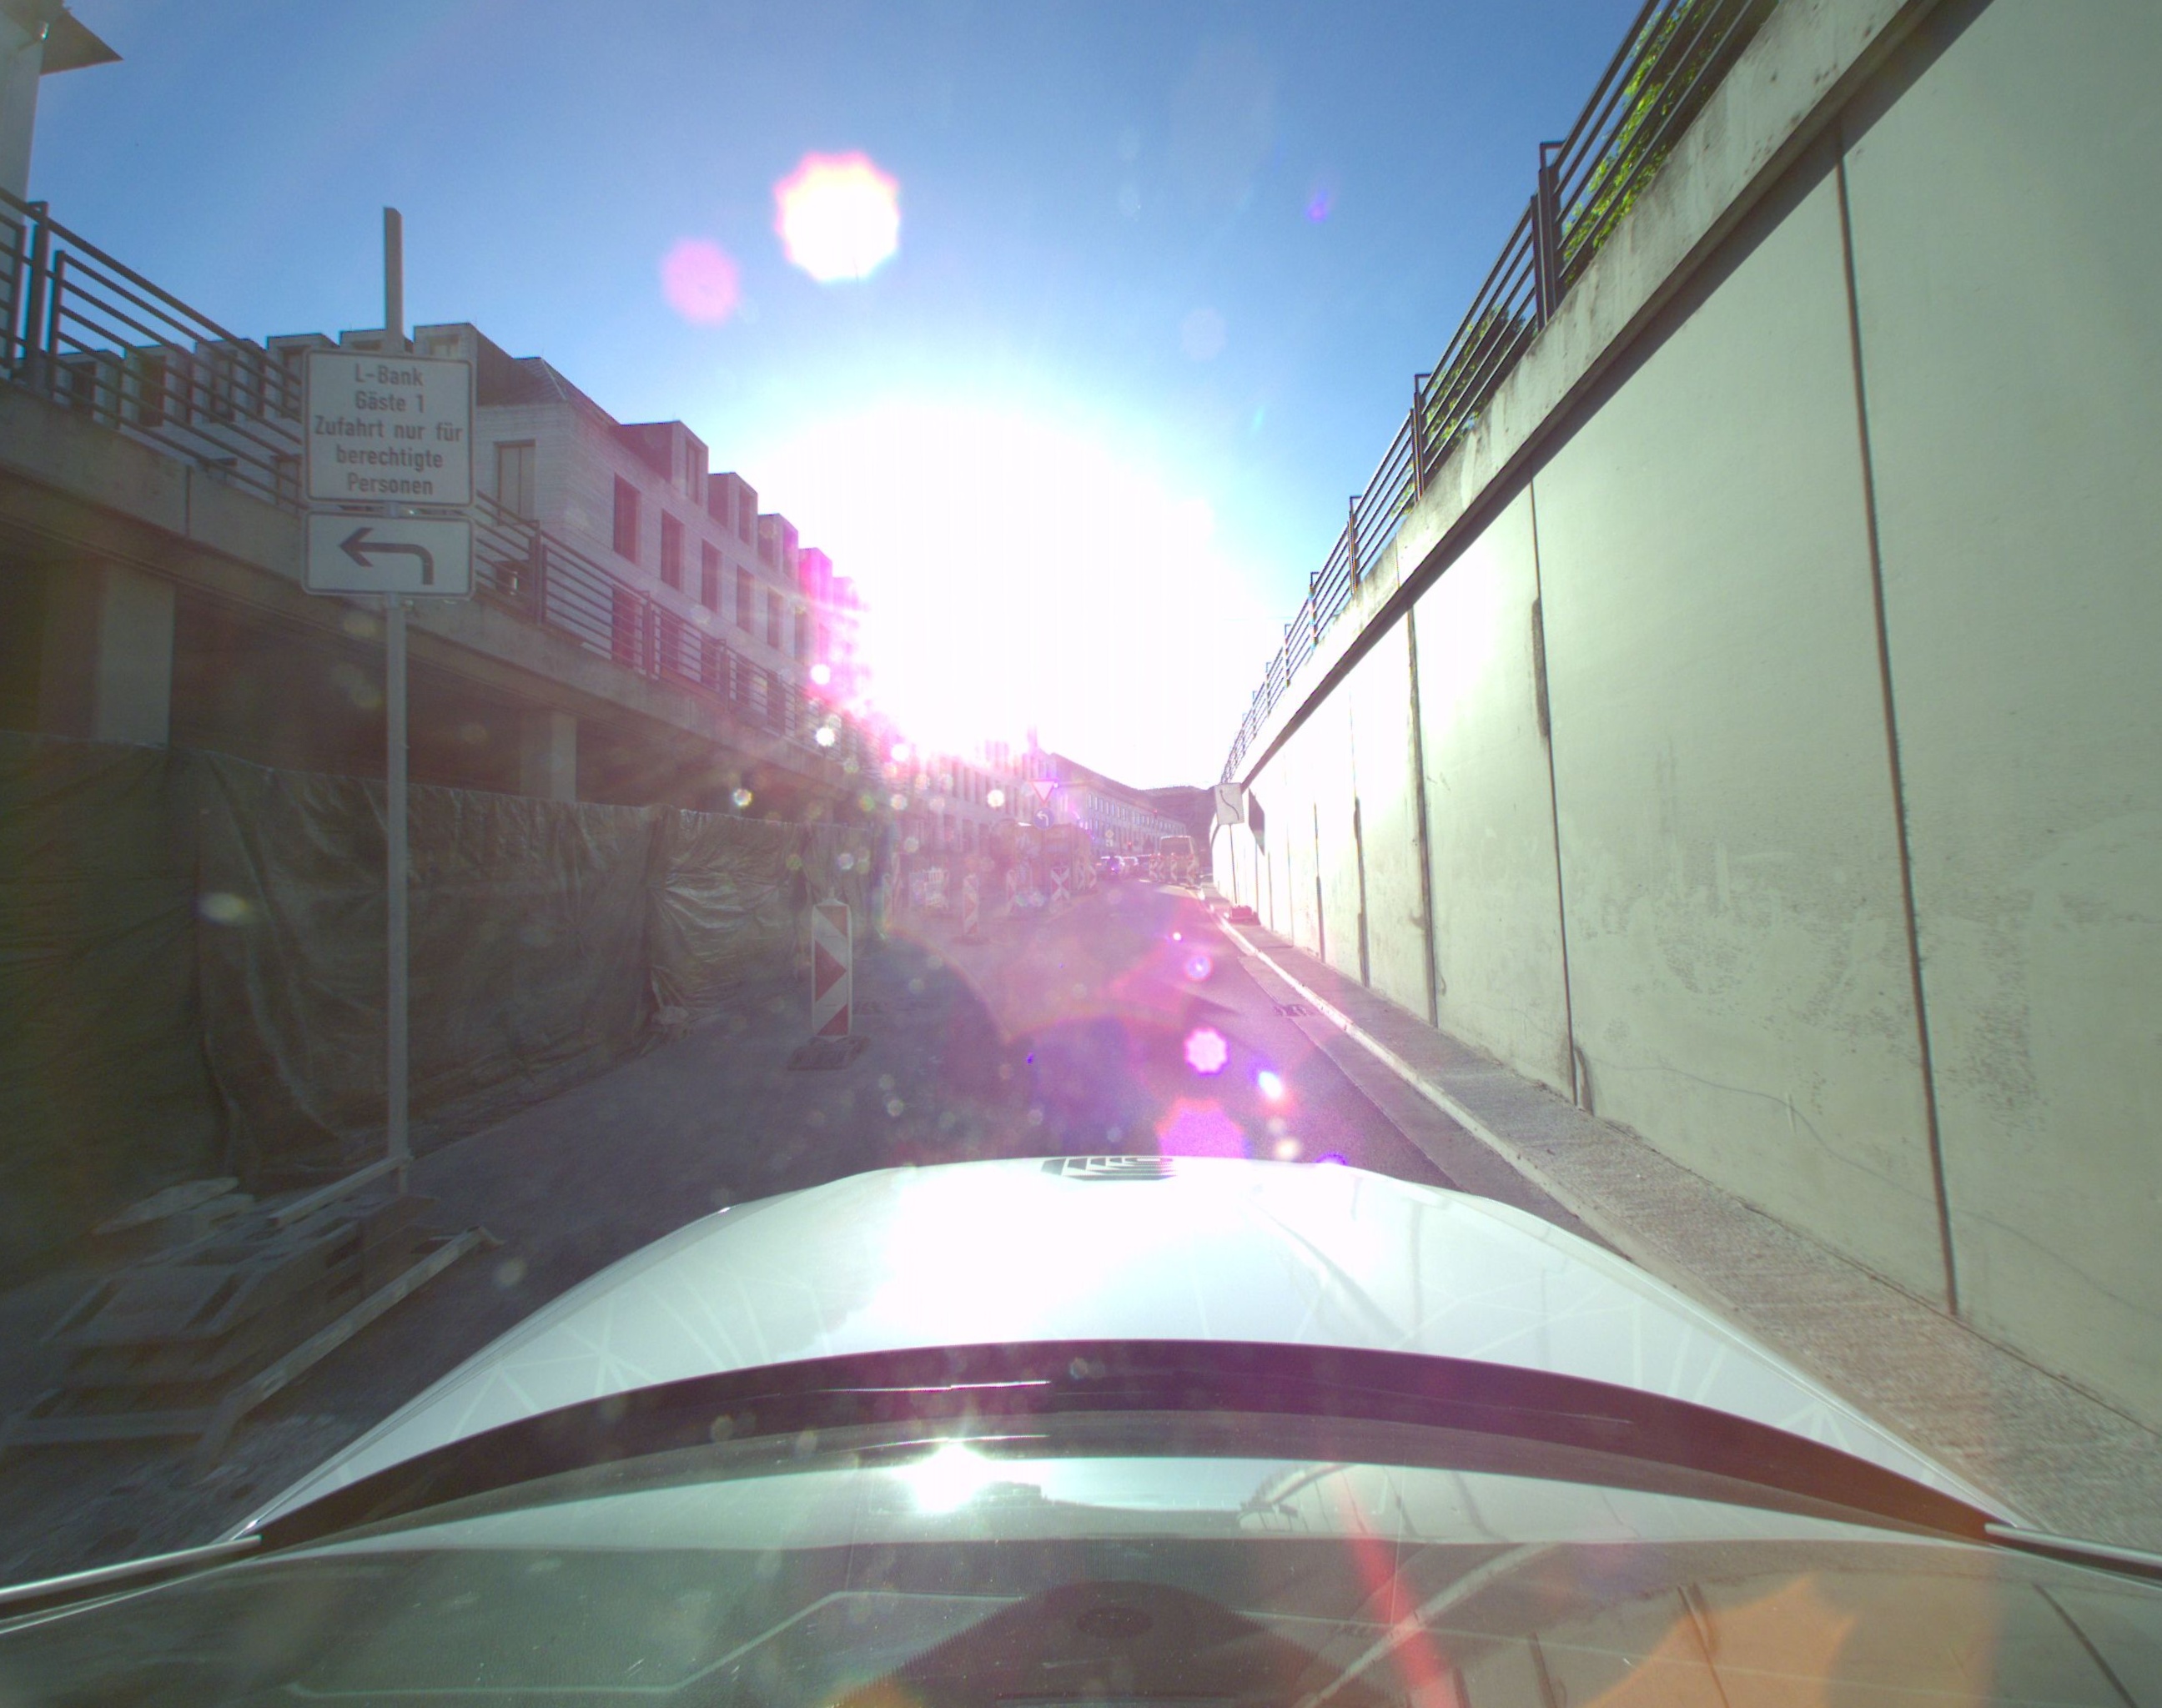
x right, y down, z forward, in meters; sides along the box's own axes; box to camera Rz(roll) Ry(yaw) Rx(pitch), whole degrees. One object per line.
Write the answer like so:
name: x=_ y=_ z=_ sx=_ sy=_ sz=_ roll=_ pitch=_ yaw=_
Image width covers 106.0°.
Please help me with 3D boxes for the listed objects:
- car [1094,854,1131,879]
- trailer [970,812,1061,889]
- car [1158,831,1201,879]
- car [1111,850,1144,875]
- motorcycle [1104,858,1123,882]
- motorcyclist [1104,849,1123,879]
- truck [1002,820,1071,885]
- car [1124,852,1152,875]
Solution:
car: x=2.013 y=0.753 z=51.389 sx=1.848 sy=1.472 sz=4.010 roll=-1 pitch=0 yaw=9
trailer: x=-3.446 y=-0.166 z=45.758 sx=2.626 sy=3.669 sz=8.773 roll=-6 pitch=-1 yaw=10
car: x=6.095 y=0.092 z=49.503 sx=2.099 sy=2.625 sz=7.006 roll=-2 pitch=-1 yaw=10
car: x=3.301 y=0.638 z=57.677 sx=1.763 sy=1.550 sz=4.117 roll=-3 pitch=-3 yaw=10
motorcycle: x=1.767 y=0.863 z=44.584 sx=0.903 sy=1.183 sz=2.578 roll=-1 pitch=1 yaw=-1
motorcyclist: x=1.754 y=0.527 z=44.576 sx=0.951 sy=1.559 sz=1.238 roll=-1 pitch=1 yaw=-1
truck: x=-2.613 y=-0.072 z=49.973 sx=2.563 sy=3.489 sz=5.833 roll=-6 pitch=-1 yaw=11
car: x=4.729 y=0.764 z=66.914 sx=1.792 sy=1.721 sz=4.174 roll=-2 pitch=0 yaw=10
